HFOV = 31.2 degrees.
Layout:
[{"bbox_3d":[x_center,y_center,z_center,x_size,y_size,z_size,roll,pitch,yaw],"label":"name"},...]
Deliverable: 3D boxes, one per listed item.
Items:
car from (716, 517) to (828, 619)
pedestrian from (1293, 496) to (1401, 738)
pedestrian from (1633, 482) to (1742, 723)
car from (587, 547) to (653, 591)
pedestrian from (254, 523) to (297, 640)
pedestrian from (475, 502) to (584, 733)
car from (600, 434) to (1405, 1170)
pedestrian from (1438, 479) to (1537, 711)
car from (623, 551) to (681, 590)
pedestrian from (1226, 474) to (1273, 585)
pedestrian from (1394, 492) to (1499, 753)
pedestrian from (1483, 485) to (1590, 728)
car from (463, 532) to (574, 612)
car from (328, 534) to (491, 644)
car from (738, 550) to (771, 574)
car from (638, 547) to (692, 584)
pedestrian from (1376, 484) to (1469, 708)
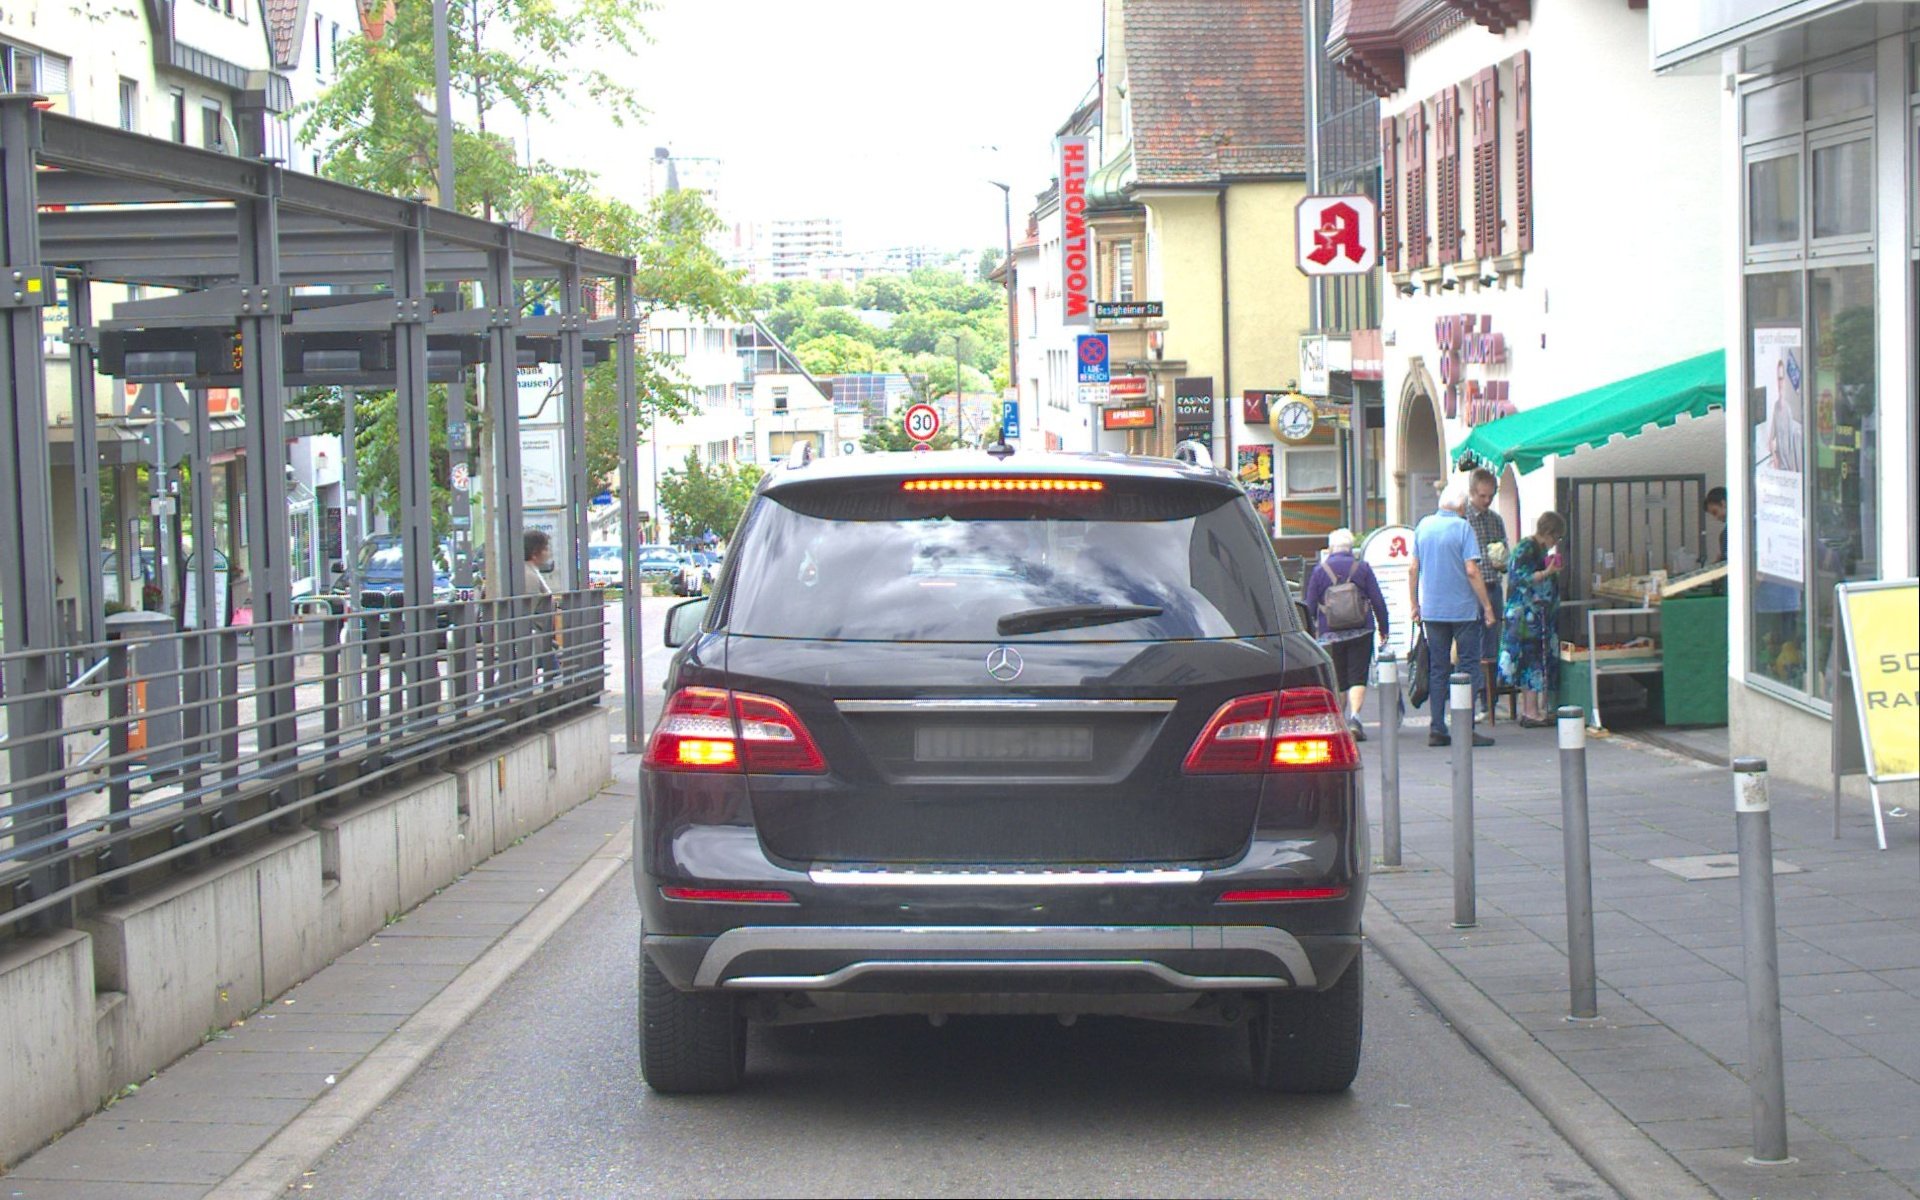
[{"bbox_3d":[-3.252,-0.580,60.078,1.770,1.707,4.000,1,1,-1],"label":"car"},{"bbox_3d":[2.730,0.112,24.276,0.621,1.683,0.566,1,1,-6],"label":"pedestrian"},{"bbox_3d":[5.177,0.009,24.491,0.573,1.683,0.566,-2,1,-6],"label":"pedestrian"},{"bbox_3d":[-8.845,-0.814,89.582,1.388,1.066,3.113,-2,1,0],"label":"car"},{"bbox_3d":[-9.932,-0.266,49.881,0.513,1.683,0.541,1,1,-1],"label":"pedestrian"},{"bbox_3d":[-3.199,0.122,25.527,0.765,1.683,0.728,1,1,-9],"label":"pedestrian"},{"bbox_3d":[0.034,0.445,10.204,1.900,1.741,4.001,1,1,-2],"label":"car"},{"bbox_3d":[3.877,-0.040,25.297,0.573,1.683,0.566,1,1,-6],"label":"pedestrian"},{"bbox_3d":[-9.073,-0.886,101.474,1.388,1.066,3.113,-2,1,0],"label":"car"},{"bbox_3d":[4.432,-1.078,52.654,0.606,1.683,0.724,-2,1,-1],"label":"pedestrian"},{"bbox_3d":[3.264,0.142,23.085,0.542,1.720,0.528,-2,1,-6],"label":"pedestrian"},{"bbox_3d":[4.080,0.038,24.354,0.573,1.683,0.566,-2,1,-6],"label":"pedestrian"},{"bbox_3d":[-8.564,-0.567,66.930,1.660,1.484,3.748,1,1,0],"label":"car"},{"bbox_3d":[-7.899,-0.195,49.623,1.689,1.484,3.979,1,1,0],"label":"car"},{"bbox_3d":[-9.757,-1.819,163.281,1.388,1.066,3.113,-2,1,0],"label":"car"},{"bbox_3d":[-9.138,-1.084,106.672,1.388,1.066,3.113,-2,1,0],"label":"car"},{"bbox_3d":[3.788,-0.038,28.180,0.639,1.803,0.685,1,1,-1],"label":"pedestrian"}]
